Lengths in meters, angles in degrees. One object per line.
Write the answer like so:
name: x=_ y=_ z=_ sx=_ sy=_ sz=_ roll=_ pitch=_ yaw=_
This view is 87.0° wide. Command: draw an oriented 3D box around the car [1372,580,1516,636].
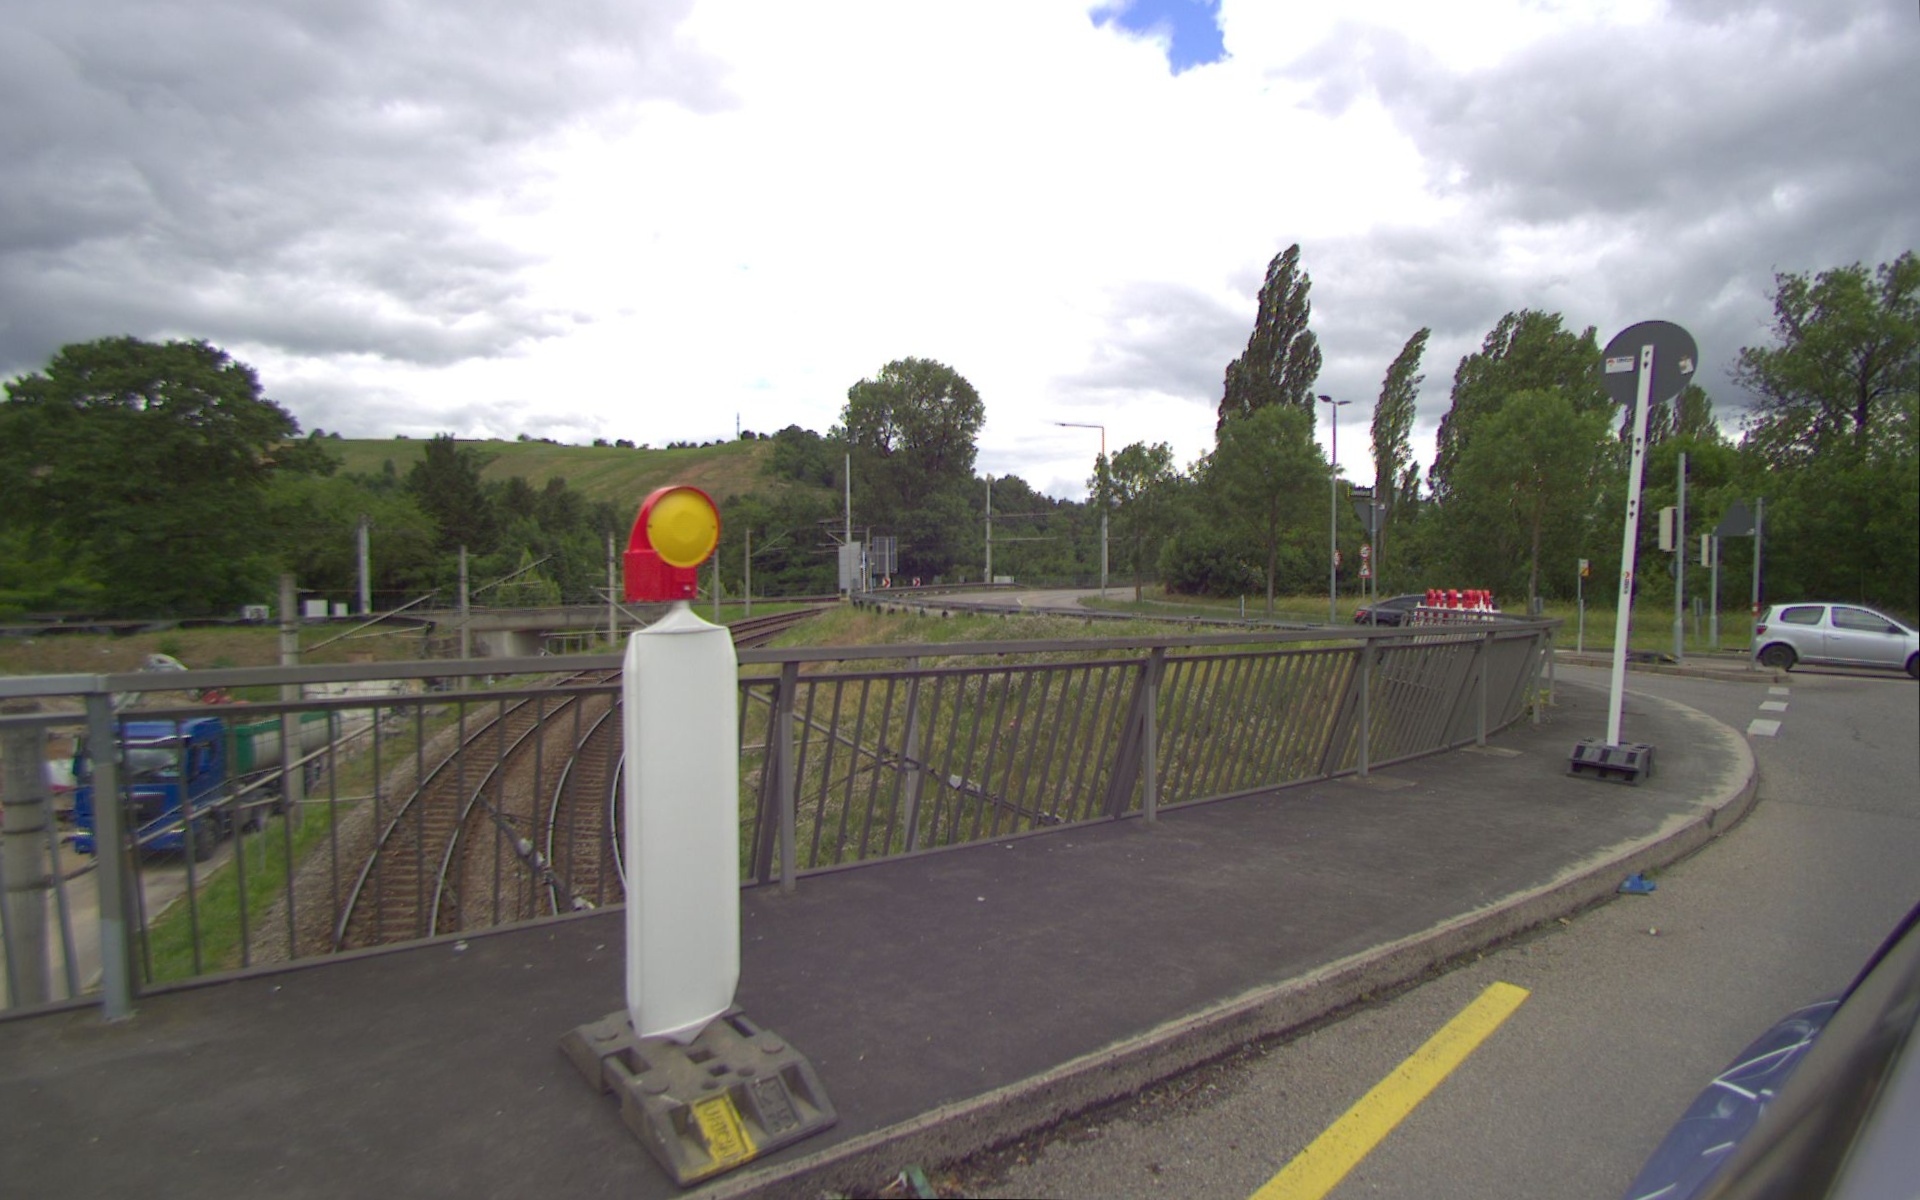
car: x=17.563 y=0.261 z=36.799 sx=4.304 sy=1.781 sz=2.053 roll=3 pitch=1 yaw=40

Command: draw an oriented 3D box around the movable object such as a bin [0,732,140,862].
movable object such as a bin: x=-26.301 y=5.388 z=28.434 sx=2.991 sy=2.784 sz=4.286 roll=0 pitch=0 yaw=2

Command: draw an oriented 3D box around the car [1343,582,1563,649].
car: x=13.097 y=0.348 z=27.174 sx=1.845 sy=1.495 sz=4.960 roll=1 pitch=2 yaw=-39

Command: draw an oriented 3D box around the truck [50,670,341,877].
truck: x=-21.942 y=4.555 z=30.185 sx=2.787 sy=3.942 sz=11.645 roll=-1 pitch=1 yaw=-15

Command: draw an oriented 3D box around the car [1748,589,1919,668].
car: x=18.867 y=0.570 z=21.220 sx=3.613 sy=1.488 sz=1.649 roll=3 pitch=2 yaw=41
